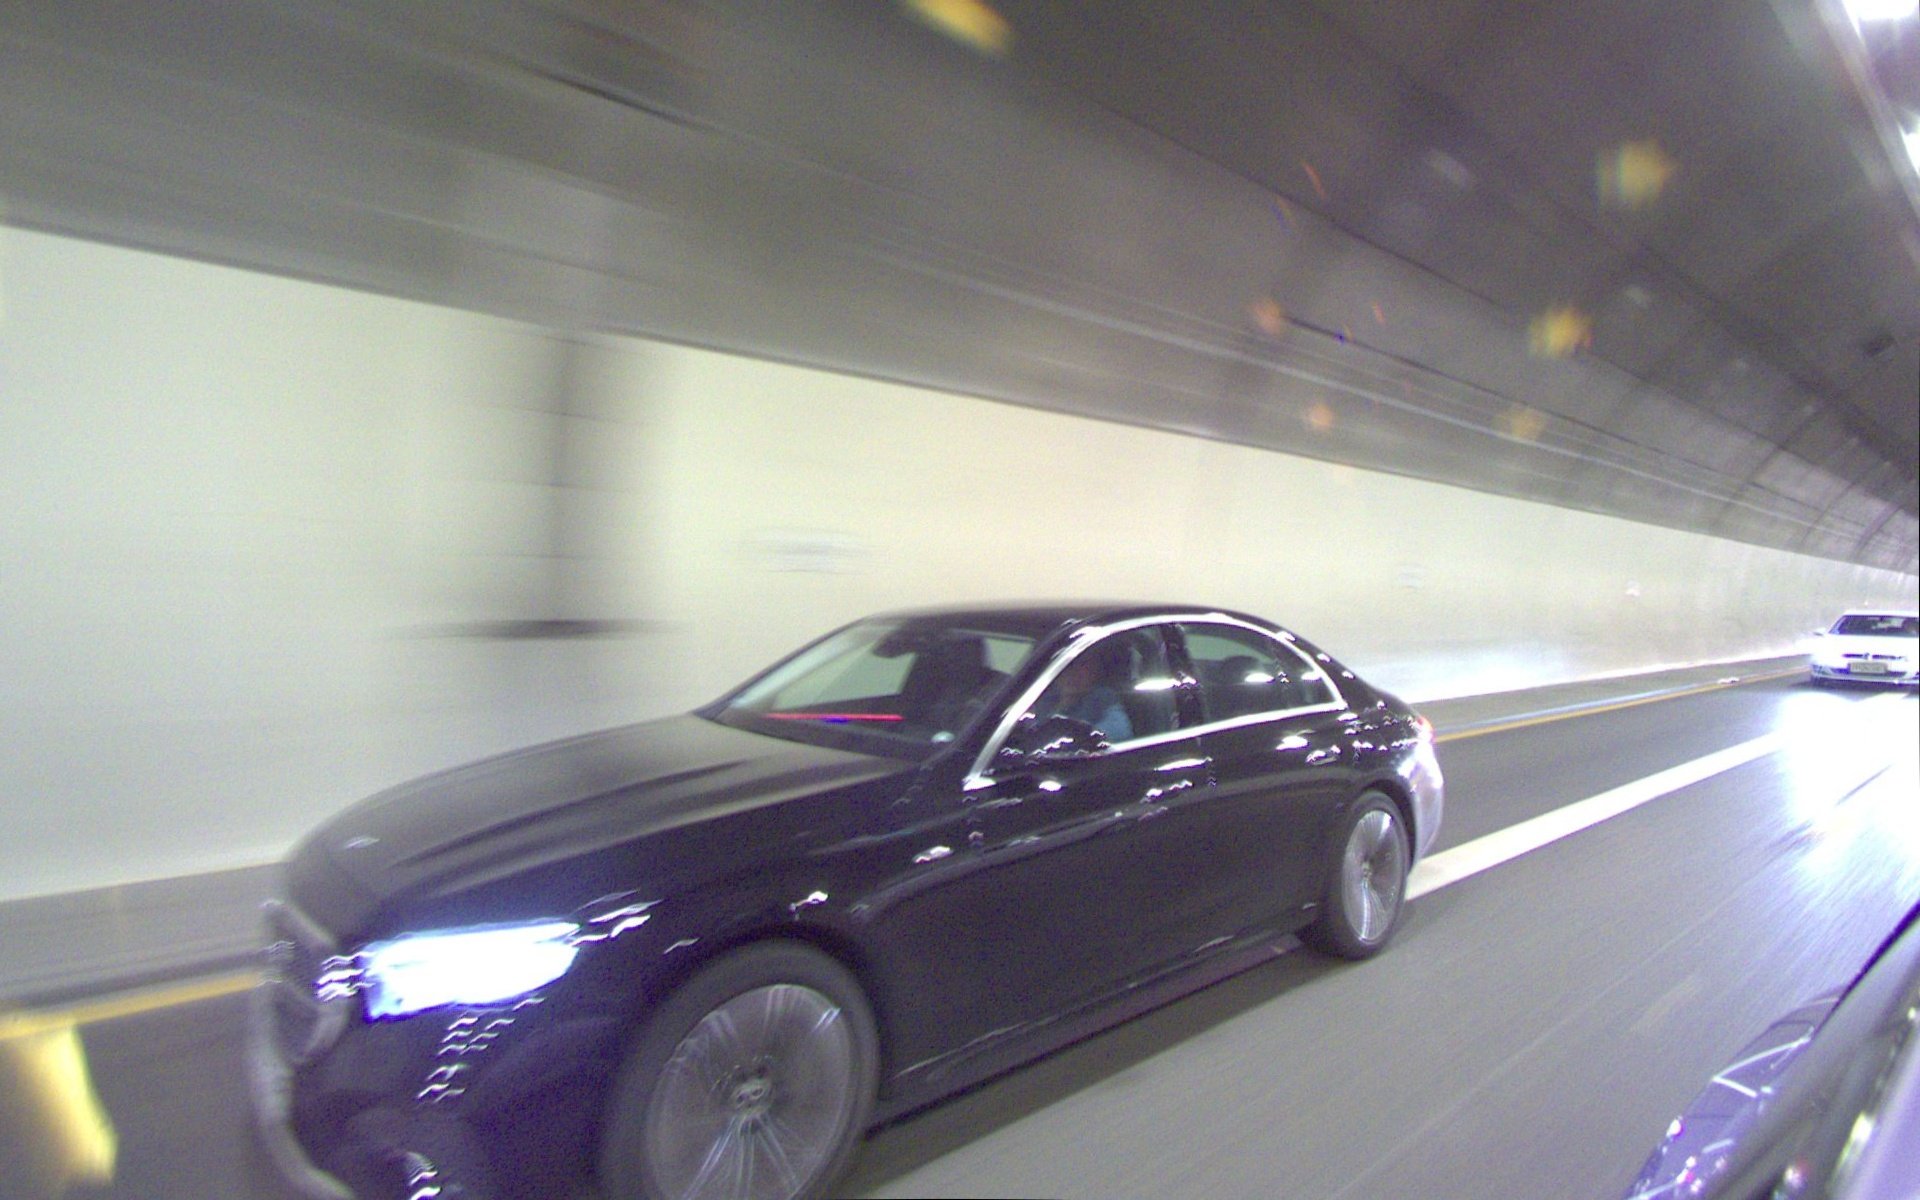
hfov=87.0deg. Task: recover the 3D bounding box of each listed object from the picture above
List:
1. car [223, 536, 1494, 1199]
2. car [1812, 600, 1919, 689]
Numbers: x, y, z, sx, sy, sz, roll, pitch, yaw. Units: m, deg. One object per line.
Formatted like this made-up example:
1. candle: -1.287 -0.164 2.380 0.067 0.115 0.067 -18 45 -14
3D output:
1. car: 0.115 0.627 4.066 4.866 1.491 1.929 0 0 -40
2. car: 17.608 0.775 18.940 3.961 1.479 1.802 1 1 -39
